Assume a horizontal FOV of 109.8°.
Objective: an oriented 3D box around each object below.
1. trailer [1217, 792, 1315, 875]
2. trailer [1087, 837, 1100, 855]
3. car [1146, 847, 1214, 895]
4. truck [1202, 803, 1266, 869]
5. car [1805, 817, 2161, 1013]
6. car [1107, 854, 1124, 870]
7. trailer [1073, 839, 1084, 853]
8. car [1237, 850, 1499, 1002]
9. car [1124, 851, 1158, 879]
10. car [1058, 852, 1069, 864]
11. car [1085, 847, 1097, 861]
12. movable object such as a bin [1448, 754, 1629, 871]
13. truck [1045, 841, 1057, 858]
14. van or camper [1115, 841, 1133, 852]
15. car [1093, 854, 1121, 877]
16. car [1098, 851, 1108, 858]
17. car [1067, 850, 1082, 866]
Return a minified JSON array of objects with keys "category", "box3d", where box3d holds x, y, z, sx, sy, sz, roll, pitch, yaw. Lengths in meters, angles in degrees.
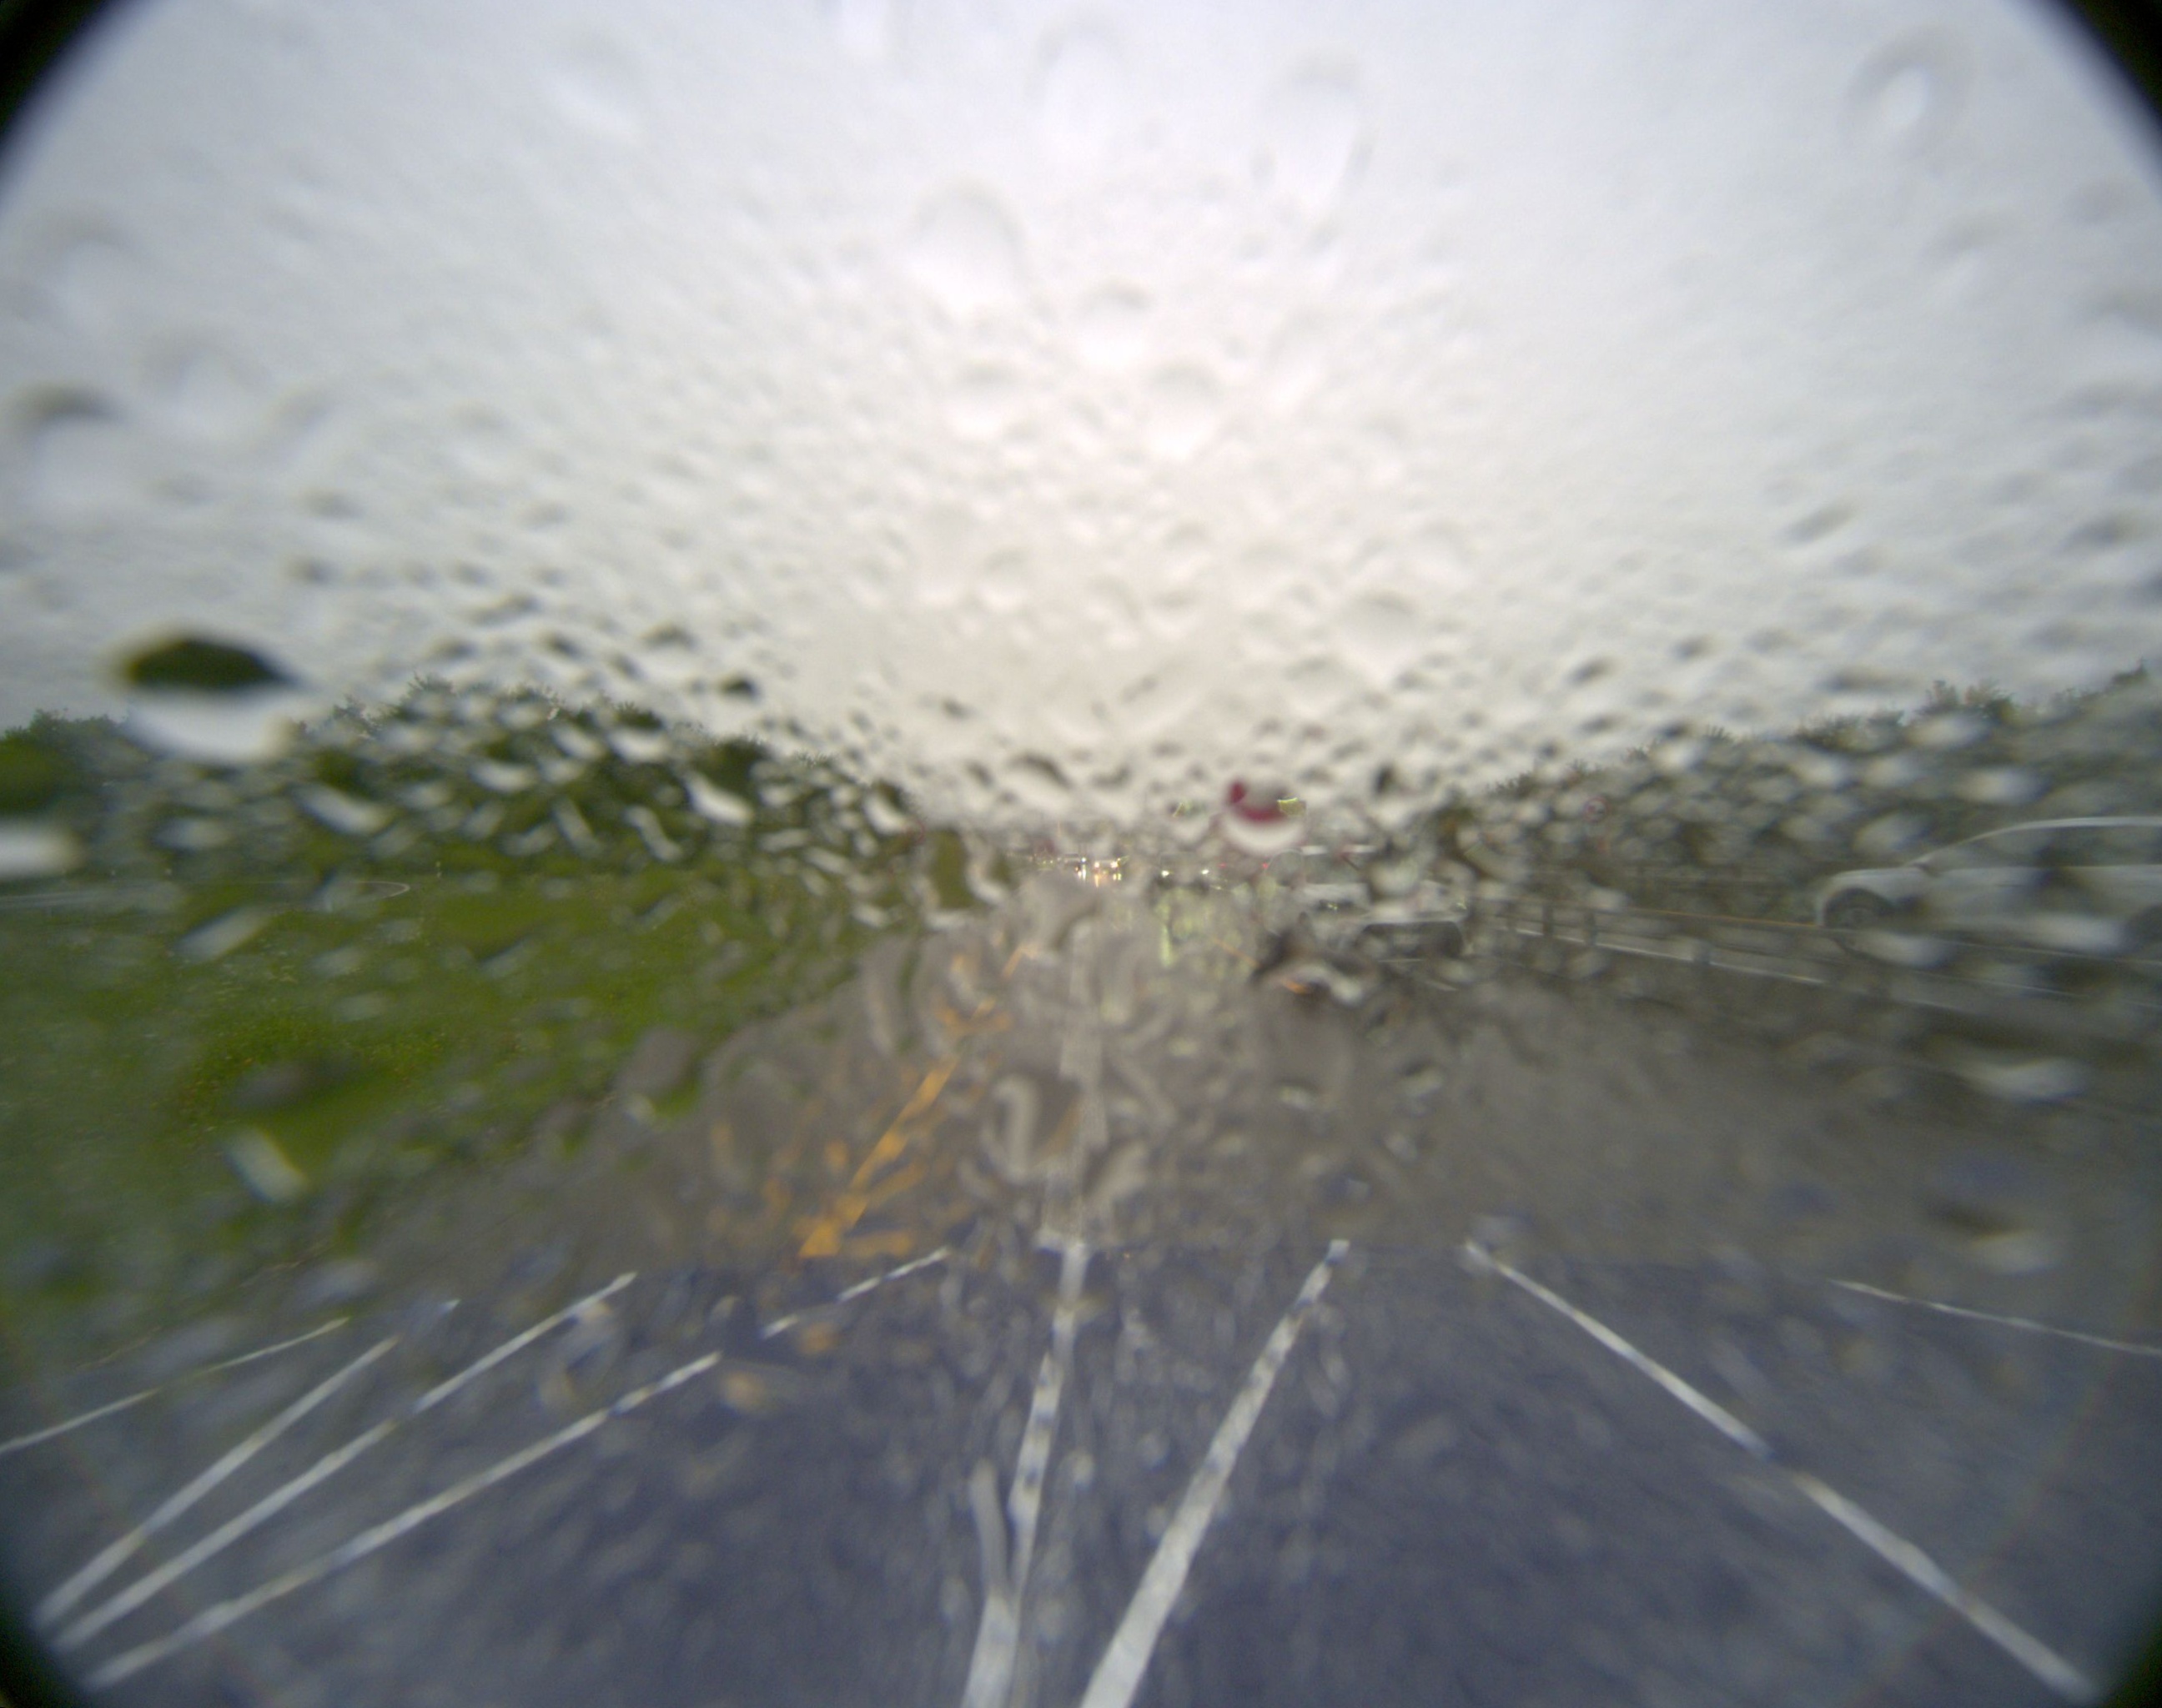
[{"category":"trailer","box3d":[10.556,-1.140,44.874,2.983,4.270,11.057,-1,1,-1]},{"category":"trailer","box3d":[3.039,-1.886,187.025,2.915,4.065,12.218,-1,0,-1]},{"category":"car","box3d":[3.720,0.587,29.364,2.069,1.618,5.195,-2,1,2]},{"category":"truck","box3d":[10.518,-1.230,52.907,3.015,4.247,6.799,-1,1,0]},{"category":"car","box3d":[10.137,0.496,7.516,1.640,1.658,4.543,-3,1,1]},{"category":"car","box3d":[3.554,0.839,79.537,1.589,1.528,3.831,-1,1,0]},{"category":"trailer","box3d":[-0.781,-2.315,226.259,2.501,4.026,12.583,-1,1,-2]},{"category":"car","box3d":[3.598,0.764,10.679,1.932,1.542,5.007,-2,1,2]},{"category":"car","box3d":[3.660,0.638,46.901,1.792,1.481,3.999,-3,1,1]},{"category":"car","box3d":[-3.028,0.671,127.561,1.674,1.804,3.998,-1,1,-4]},{"category":"car","box3d":[1.553,-0.026,115.592,1.766,2.002,3.999,-3,1,1]},{"category":"movable object such as a bin","box3d":[26.413,-2.222,44.952,4.181,5.881,11.044,-3,1,2]},{"category":"truck","box3d":[-7.304,-1.128,187.270,2.506,4.067,15.197,-3,1,-1]},{"category":"van or camper","box3d":[13.997,-2.345,248.986,5.422,3.326,3.375,-3,1,-6]},{"category":"car","box3d":[2.133,0.924,63.211,1.882,1.772,3.998,-1,1,-4]},{"category":"car","box3d":[4.948,0.106,168.371,1.999,1.497,4.295,-2,1,-1]},{"category":"car","box3d":[-0.695,0.427,86.851,1.673,1.804,3.999,-1,1,0]}]
